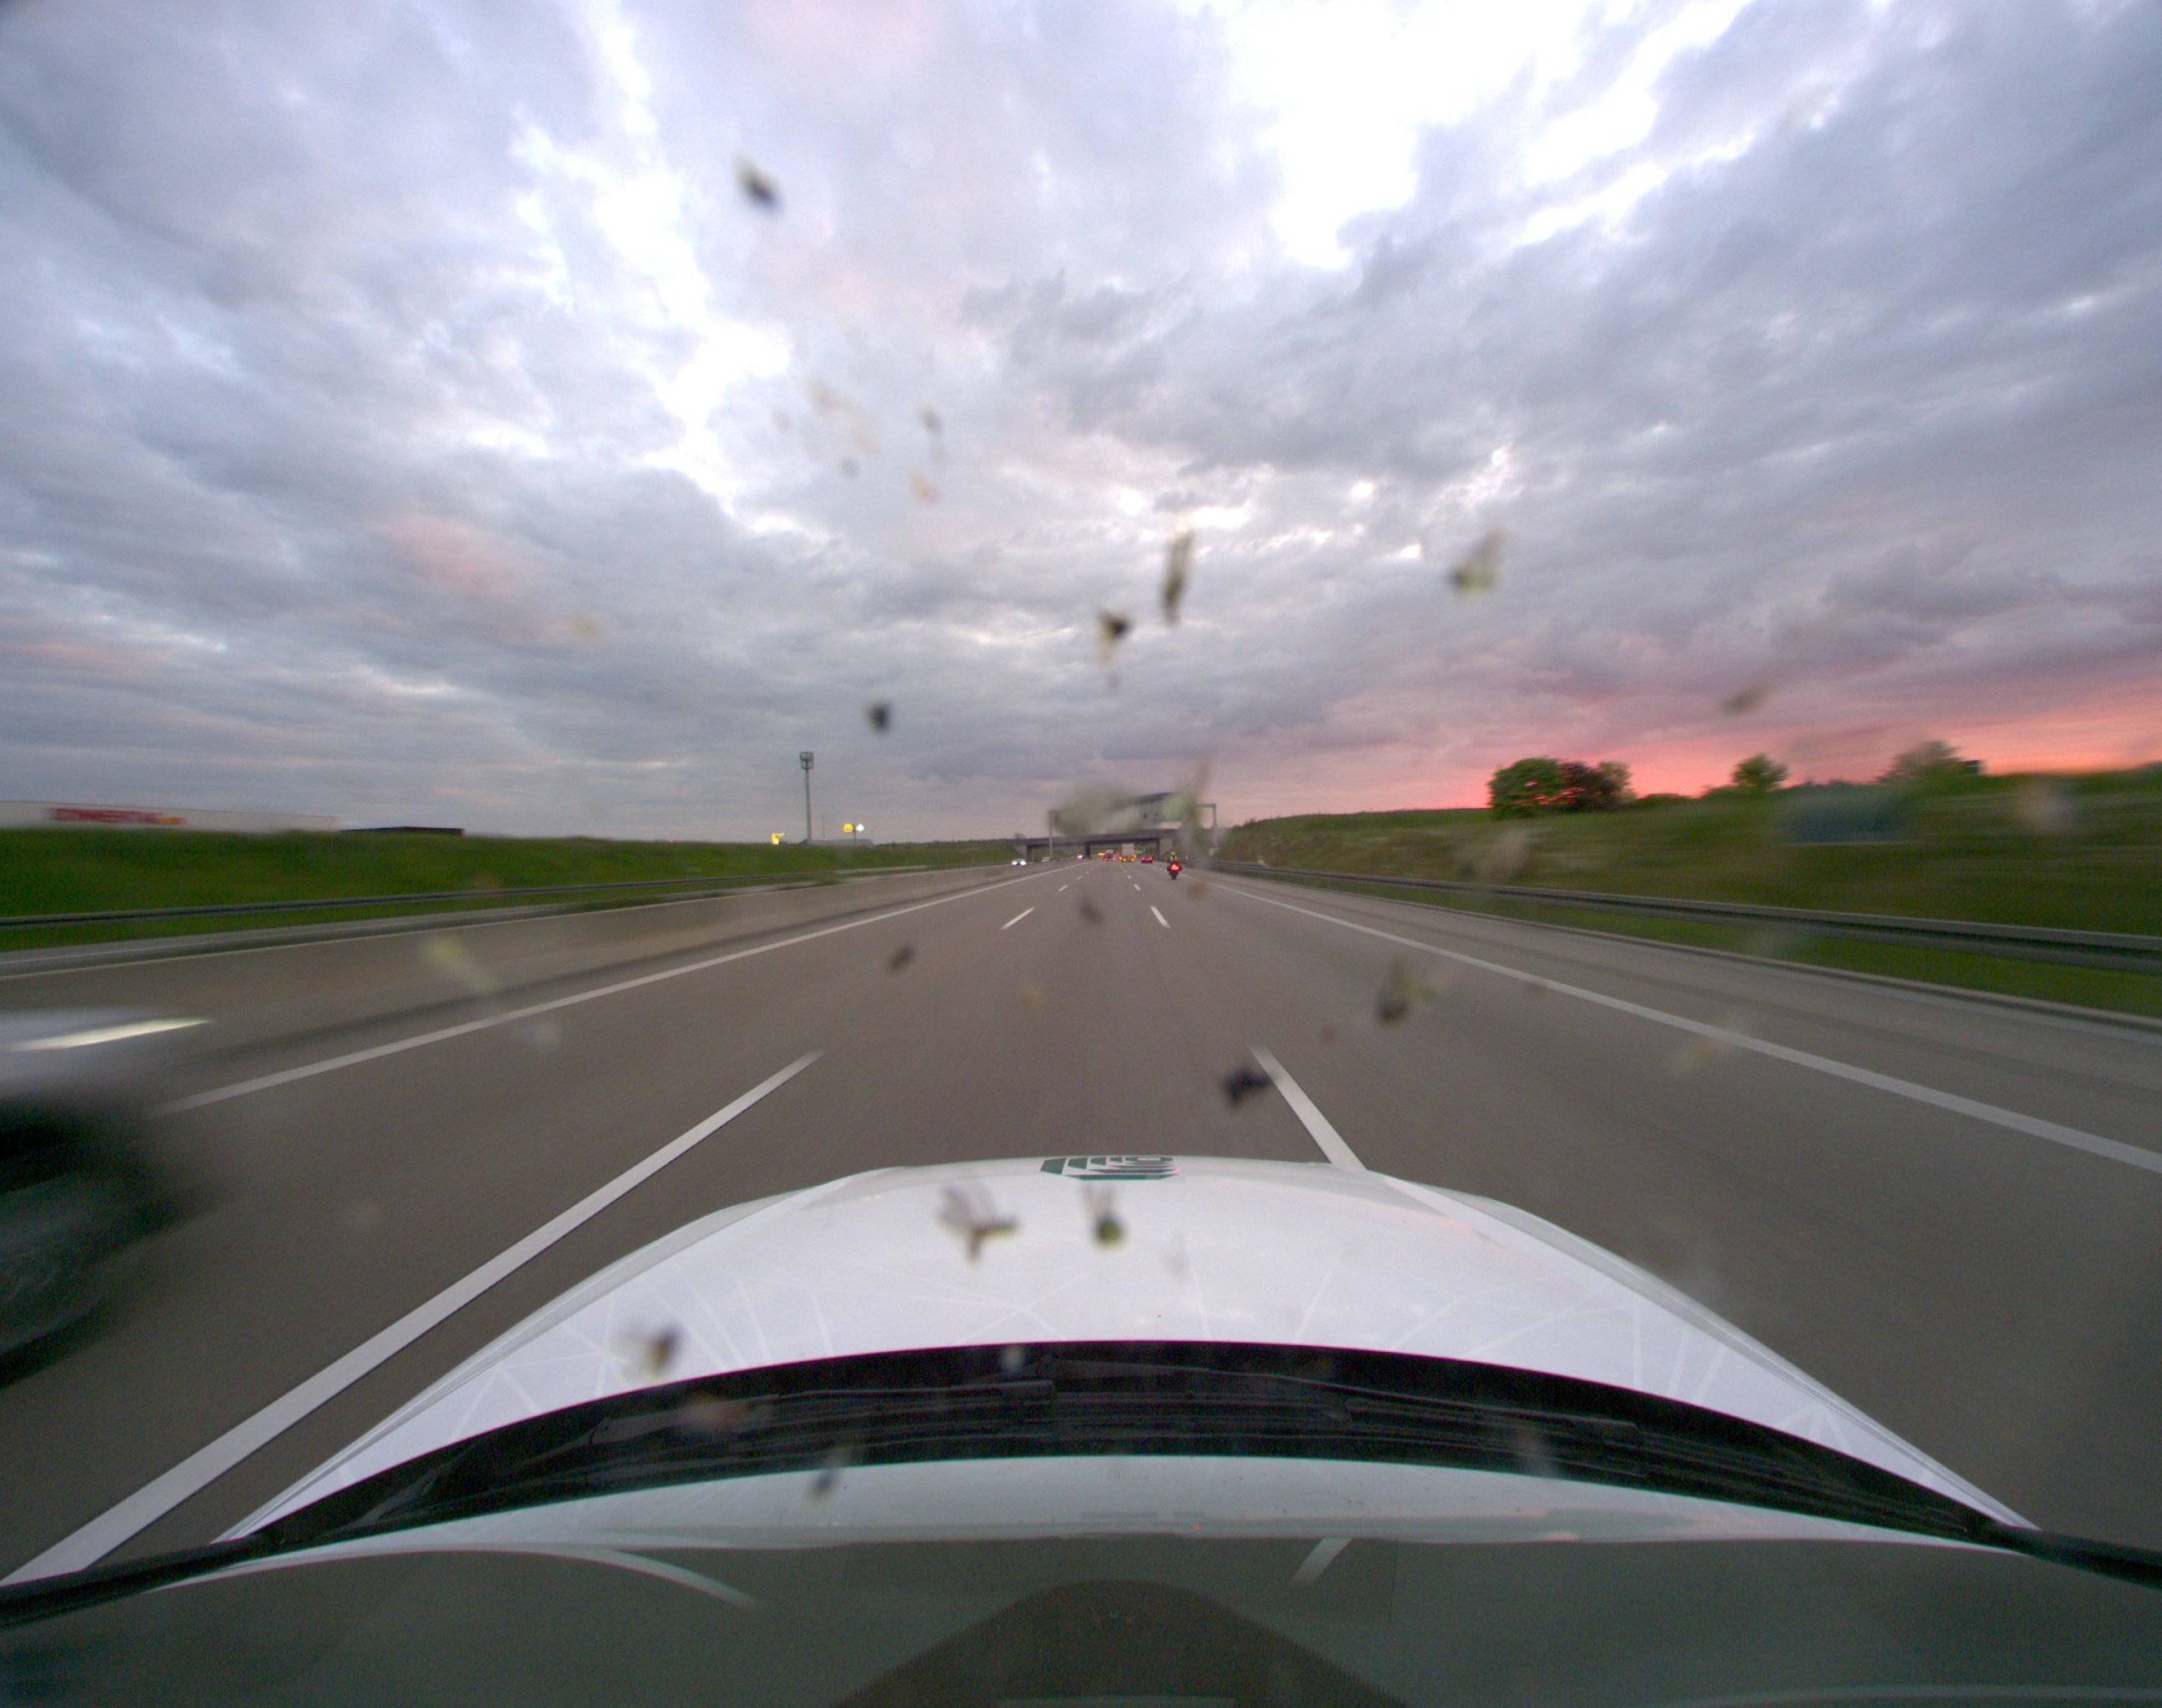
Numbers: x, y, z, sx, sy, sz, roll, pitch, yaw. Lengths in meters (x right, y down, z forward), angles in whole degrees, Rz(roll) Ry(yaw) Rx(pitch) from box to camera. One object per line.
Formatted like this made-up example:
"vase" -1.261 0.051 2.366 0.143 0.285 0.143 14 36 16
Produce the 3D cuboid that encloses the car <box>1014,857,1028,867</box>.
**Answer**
"car" -10.241 1.366 138.506 1.996 1.587 4.573 -2 0 0

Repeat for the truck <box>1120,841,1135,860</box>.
"truck" 10.304 -0.771 179.984 3.221 4.227 9.605 0 0 3

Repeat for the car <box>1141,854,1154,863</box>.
"car" 11.345 0.777 138.937 1.911 1.579 4.001 -1 0 1

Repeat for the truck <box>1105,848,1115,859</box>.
"truck" 8.709 -0.103 242.083 2.941 3.217 8.409 0 1 2

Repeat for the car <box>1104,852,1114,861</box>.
"car" 7.746 0.556 226.016 2.507 2.391 6.498 -2 0 1

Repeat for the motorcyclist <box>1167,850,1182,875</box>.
"motorcyclist" 5.715 0.495 49.833 0.862 1.487 1.169 0 0 3

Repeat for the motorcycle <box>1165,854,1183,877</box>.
"motorcycle" 5.716 0.698 50.063 0.898 1.346 2.350 -1 1 3

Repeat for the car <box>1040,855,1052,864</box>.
"car" -6.297 1.055 148.150 1.742 1.597 4.646 0 0 2

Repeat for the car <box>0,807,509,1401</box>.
"car" -4.050 0.731 1.544 1.845 1.692 5.515 -1 0 2
